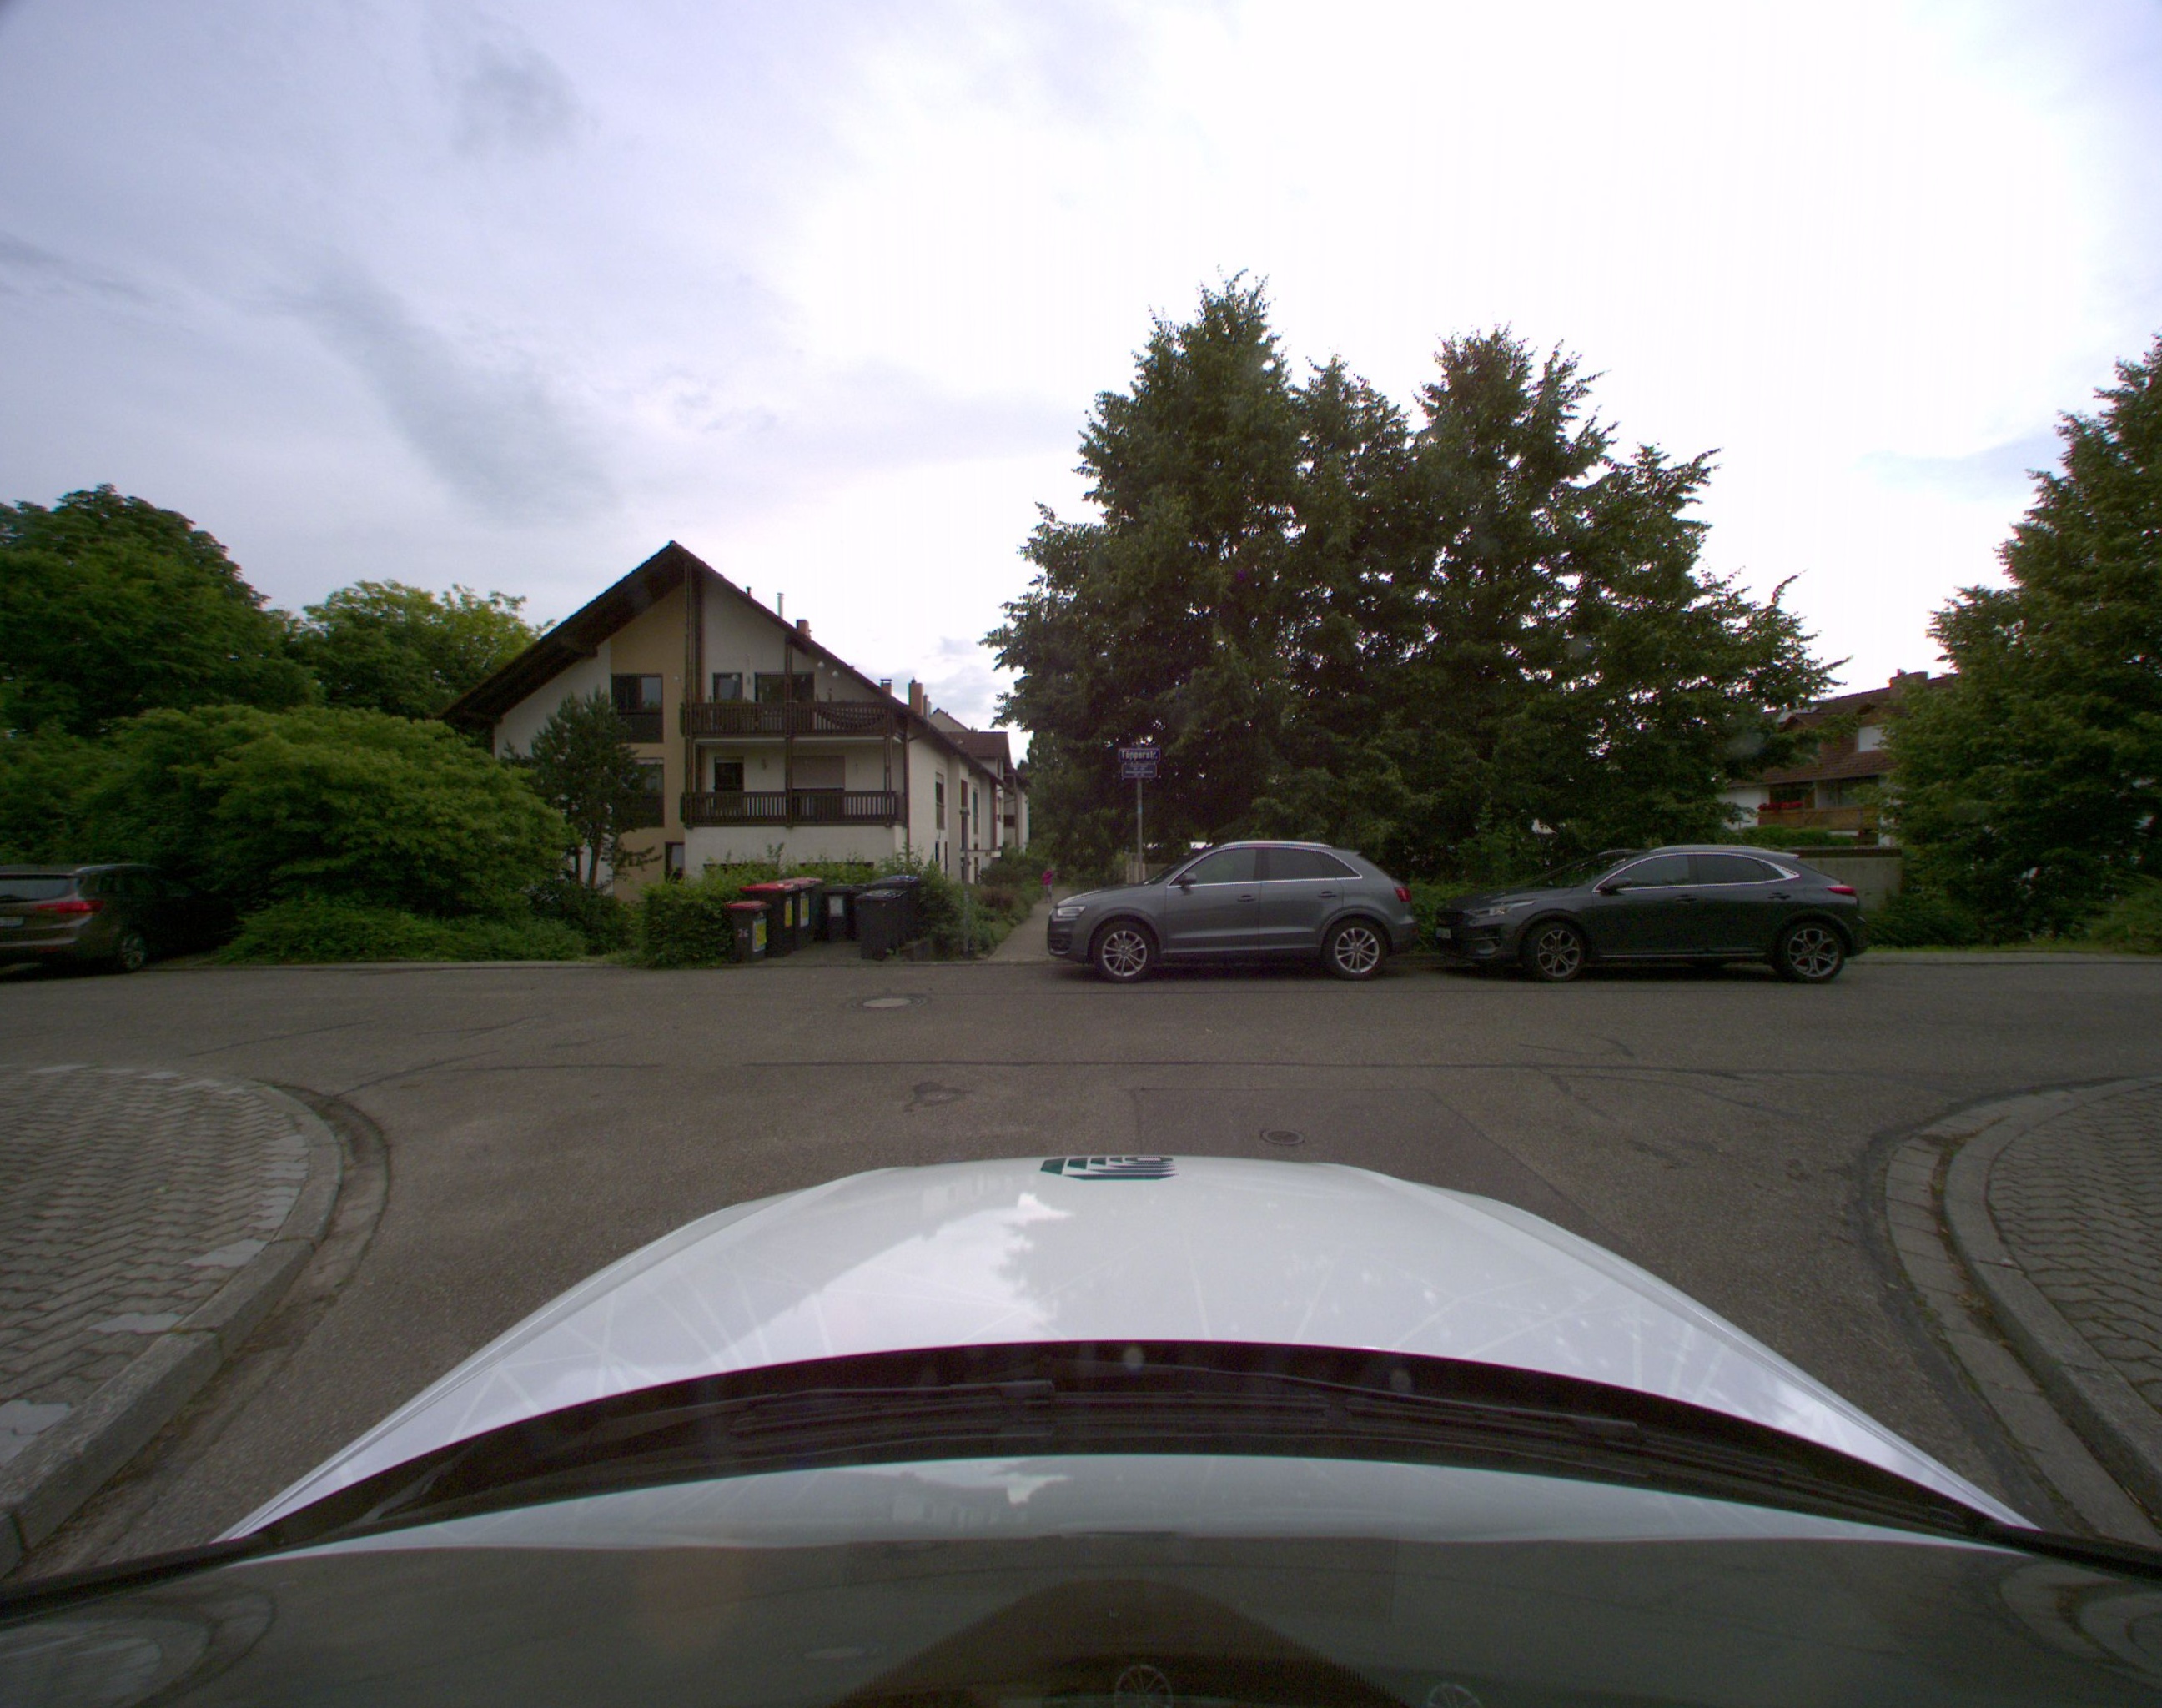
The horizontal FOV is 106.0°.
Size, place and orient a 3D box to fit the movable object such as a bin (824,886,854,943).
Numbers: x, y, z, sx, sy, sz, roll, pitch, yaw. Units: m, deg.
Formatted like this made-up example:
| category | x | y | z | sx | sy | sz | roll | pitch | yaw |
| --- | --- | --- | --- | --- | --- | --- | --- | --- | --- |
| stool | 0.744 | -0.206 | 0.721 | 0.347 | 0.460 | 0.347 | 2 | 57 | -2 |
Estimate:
| category | x | y | z | sx | sy | sz | roll | pitch | yaw |
| --- | --- | --- | --- | --- | --- | --- | --- | --- | --- |
| movable object such as a bin | -3.948 | 0.986 | 13.300 | 0.385 | 0.901 | 0.379 | 0 | 0 | -2 |

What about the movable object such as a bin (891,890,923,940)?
| category | x | y | z | sx | sy | sz | roll | pitch | yaw |
| --- | --- | --- | --- | --- | --- | --- | --- | --- | --- |
| movable object such as a bin | -2.915 | 1.014 | 13.653 | 0.458 | 0.797 | 0.379 | 0 | 0 | -3 |

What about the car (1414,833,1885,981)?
| category | x | y | z | sx | sy | sz | roll | pitch | yaw |
| --- | --- | --- | --- | --- | --- | --- | --- | --- | --- |
| car | 6.303 | 0.592 | 9.457 | 4.162 | 1.531 | 1.749 | -1 | -2 | 4 |

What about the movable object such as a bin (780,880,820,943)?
| category | x | y | z | sx | sy | sz | roll | pitch | yaw |
| --- | --- | --- | --- | --- | --- | --- | --- | --- | --- |
| movable object such as a bin | -4.546 | 0.921 | 13.176 | 0.536 | 0.994 | 0.337 | 0 | 0 | -3 |

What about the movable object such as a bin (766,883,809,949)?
| category | x | y | z | sx | sy | sz | roll | pitch | yaw |
| --- | --- | --- | --- | --- | --- | --- | --- | --- | --- |
| movable object such as a bin | -4.552 | 0.950 | 12.650 | 0.536 | 0.994 | 0.337 | 0 | 0 | -3 |

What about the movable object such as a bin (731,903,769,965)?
| category | x | y | z | sx | sy | sz | roll | pitch | yaw |
| --- | --- | --- | --- | --- | --- | --- | --- | --- | --- |
| movable object such as a bin | -4.676 | 1.118 | 11.503 | 0.385 | 0.836 | 0.379 | 0 | 0 | -2 |

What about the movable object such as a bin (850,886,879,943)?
| category | x | y | z | sx | sy | sz | roll | pitch | yaw |
| --- | --- | --- | --- | --- | --- | --- | --- | --- | --- |
| movable object such as a bin | -3.533 | 0.981 | 13.320 | 0.385 | 0.889 | 0.379 | 0 | 0 | -2 |

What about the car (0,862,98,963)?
| category | x | y | z | sx | sy | sz | roll | pitch | yaw |
| --- | --- | --- | --- | --- | --- | --- | --- | --- | --- |
| car | -17.043 | 0.891 | 11.991 | 1.704 | 1.490 | 3.967 | 0 | 0 | -25 |

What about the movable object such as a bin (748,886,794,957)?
| category | x | y | z | sx | sy | sz | roll | pitch | yaw |
| --- | --- | --- | --- | --- | --- | --- | --- | --- | --- |
| movable object such as a bin | -4.533 | 0.981 | 11.924 | 0.536 | 0.994 | 0.379 | 0 | 0 | -3 |

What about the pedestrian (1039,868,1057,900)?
| category | x | y | z | sx | sy | sz | roll | pitch | yaw |
| --- | --- | --- | --- | --- | --- | --- | --- | --- | --- |
| pedestrian | -1.592 | 1.452 | 39.254 | 0.813 | 1.517 | 0.438 | -1 | -1 | -3 |

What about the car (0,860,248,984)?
| category | x | y | z | sx | sy | sz | roll | pitch | yaw |
| --- | --- | --- | --- | --- | --- | --- | --- | --- | --- |
| car | -14.281 | 0.861 | 11.845 | 1.704 | 1.490 | 3.967 | 0 | 0 | -25 |

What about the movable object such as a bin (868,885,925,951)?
| category | x | y | z | sx | sy | sz | roll | pitch | yaw |
| --- | --- | --- | --- | --- | --- | --- | --- | --- | --- |
| movable object such as a bin | -2.815 | 0.966 | 12.475 | 0.731 | 0.953 | 0.584 | 0 | 0 | -1 |

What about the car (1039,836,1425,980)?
| category | x | y | z | sx | sy | sz | roll | pitch | yaw |
| --- | --- | --- | --- | --- | --- | --- | --- | --- | --- |
| car | 1.663 | 0.610 | 9.807 | 4.224 | 1.531 | 1.747 | 0 | -2 | -1 |

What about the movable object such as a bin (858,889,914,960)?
| category | x | y | z | sx | sy | sz | roll | pitch | yaw |
| --- | --- | --- | --- | --- | --- | --- | --- | --- | --- |
| movable object such as a bin | -2.804 | 1.006 | 11.759 | 0.636 | 0.953 | 0.723 | 0 | 0 | -1 |

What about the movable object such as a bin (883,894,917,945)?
| category | x | y | z | sx | sy | sz | roll | pitch | yaw |
| --- | --- | --- | --- | --- | --- | --- | --- | --- | --- |
| movable object such as a bin | -2.934 | 1.056 | 13.230 | 0.458 | 0.797 | 0.379 | 0 | 0 | -1 |

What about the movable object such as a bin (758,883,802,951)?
| category | x | y | z | sx | sy | sz | roll | pitch | yaw |
| --- | --- | --- | --- | --- | --- | --- | --- | --- | --- |
| movable object such as a bin | -4.542 | 0.945 | 12.296 | 0.536 | 0.994 | 0.337 | 0 | 0 | -3 |
